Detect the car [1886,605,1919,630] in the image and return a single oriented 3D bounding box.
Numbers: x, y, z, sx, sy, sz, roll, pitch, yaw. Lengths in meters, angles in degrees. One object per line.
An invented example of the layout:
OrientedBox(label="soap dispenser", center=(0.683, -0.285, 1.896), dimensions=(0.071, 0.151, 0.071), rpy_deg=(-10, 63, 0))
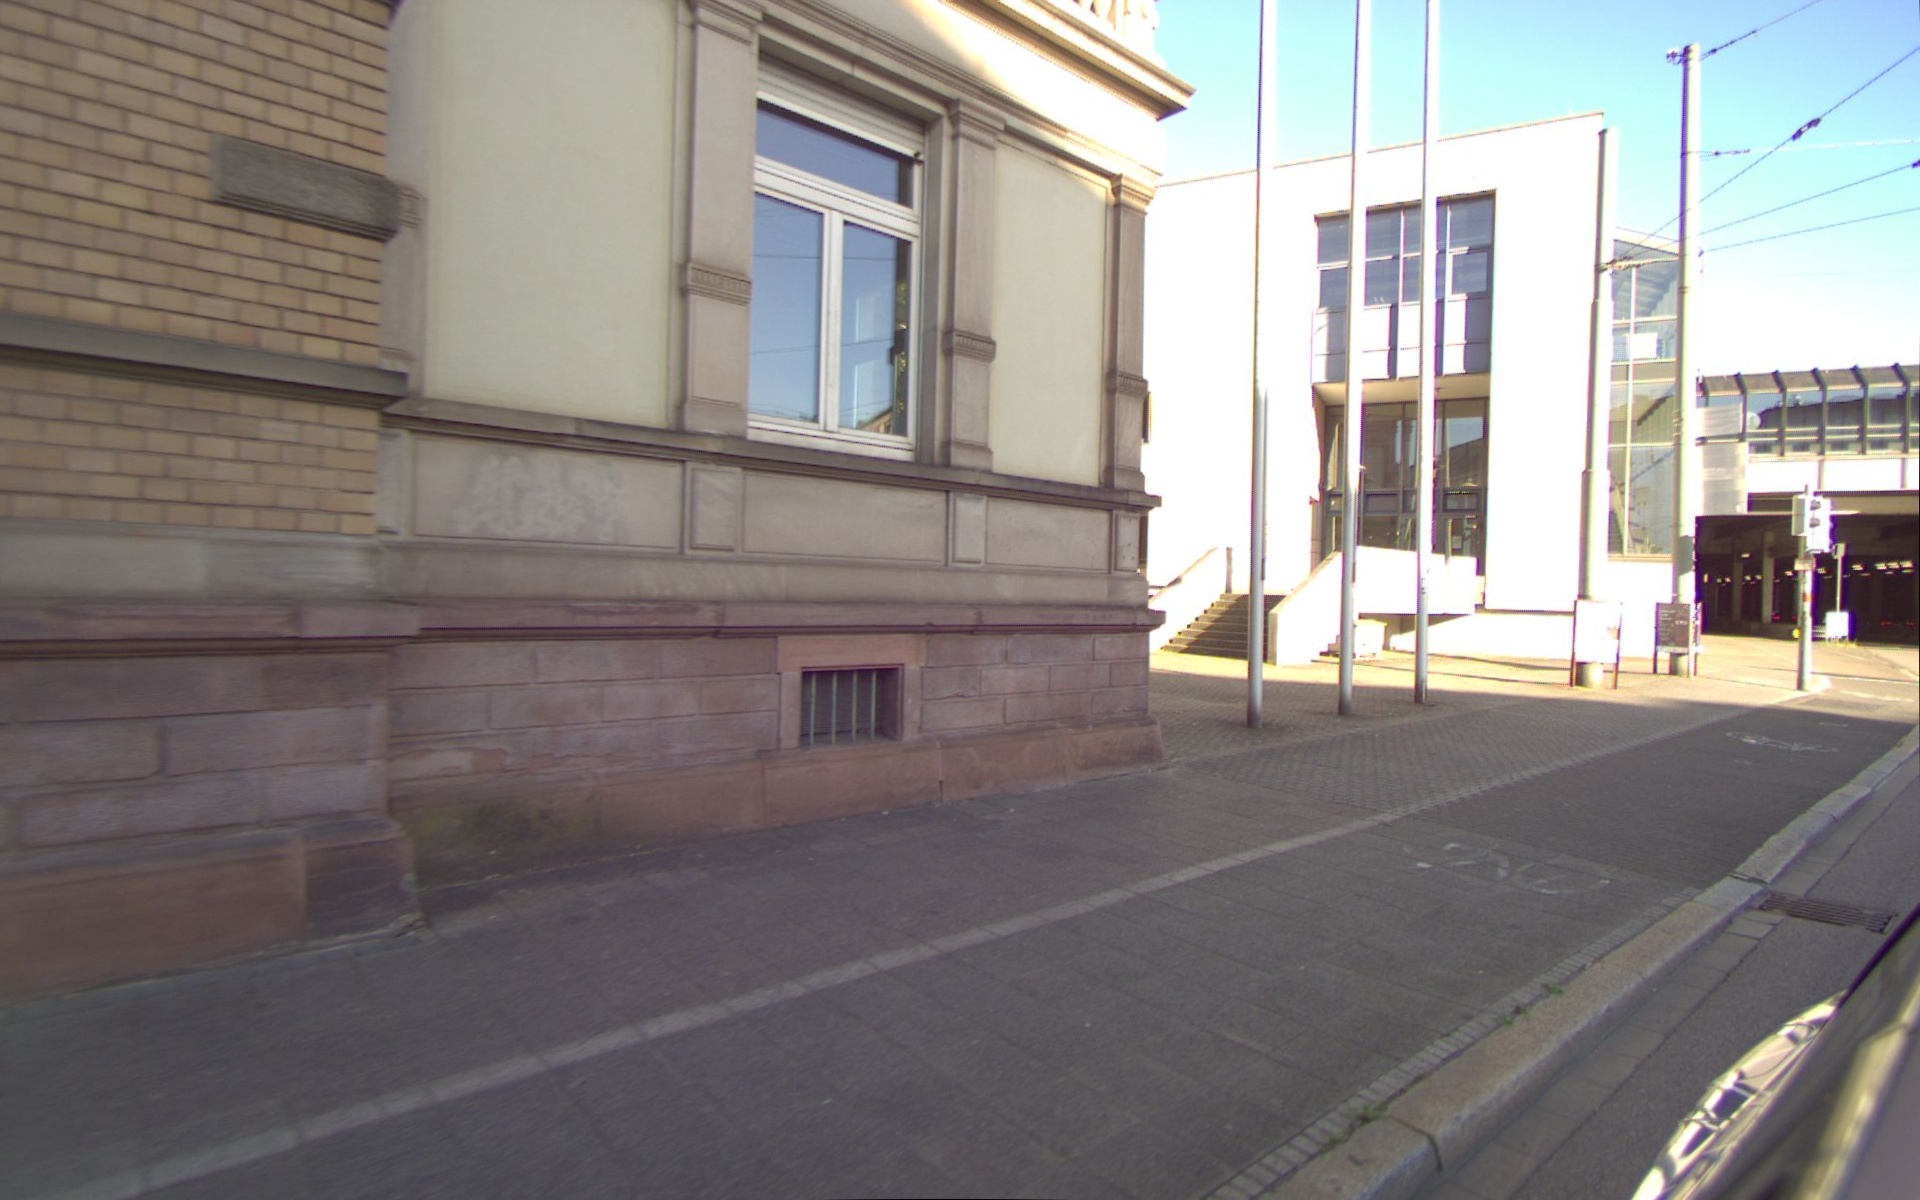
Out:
OrientedBox(label="car", center=(57.228, 1.040, 60.406), dimensions=(1.799, 1.408, 4.206), rpy_deg=(1, 0, 27))
